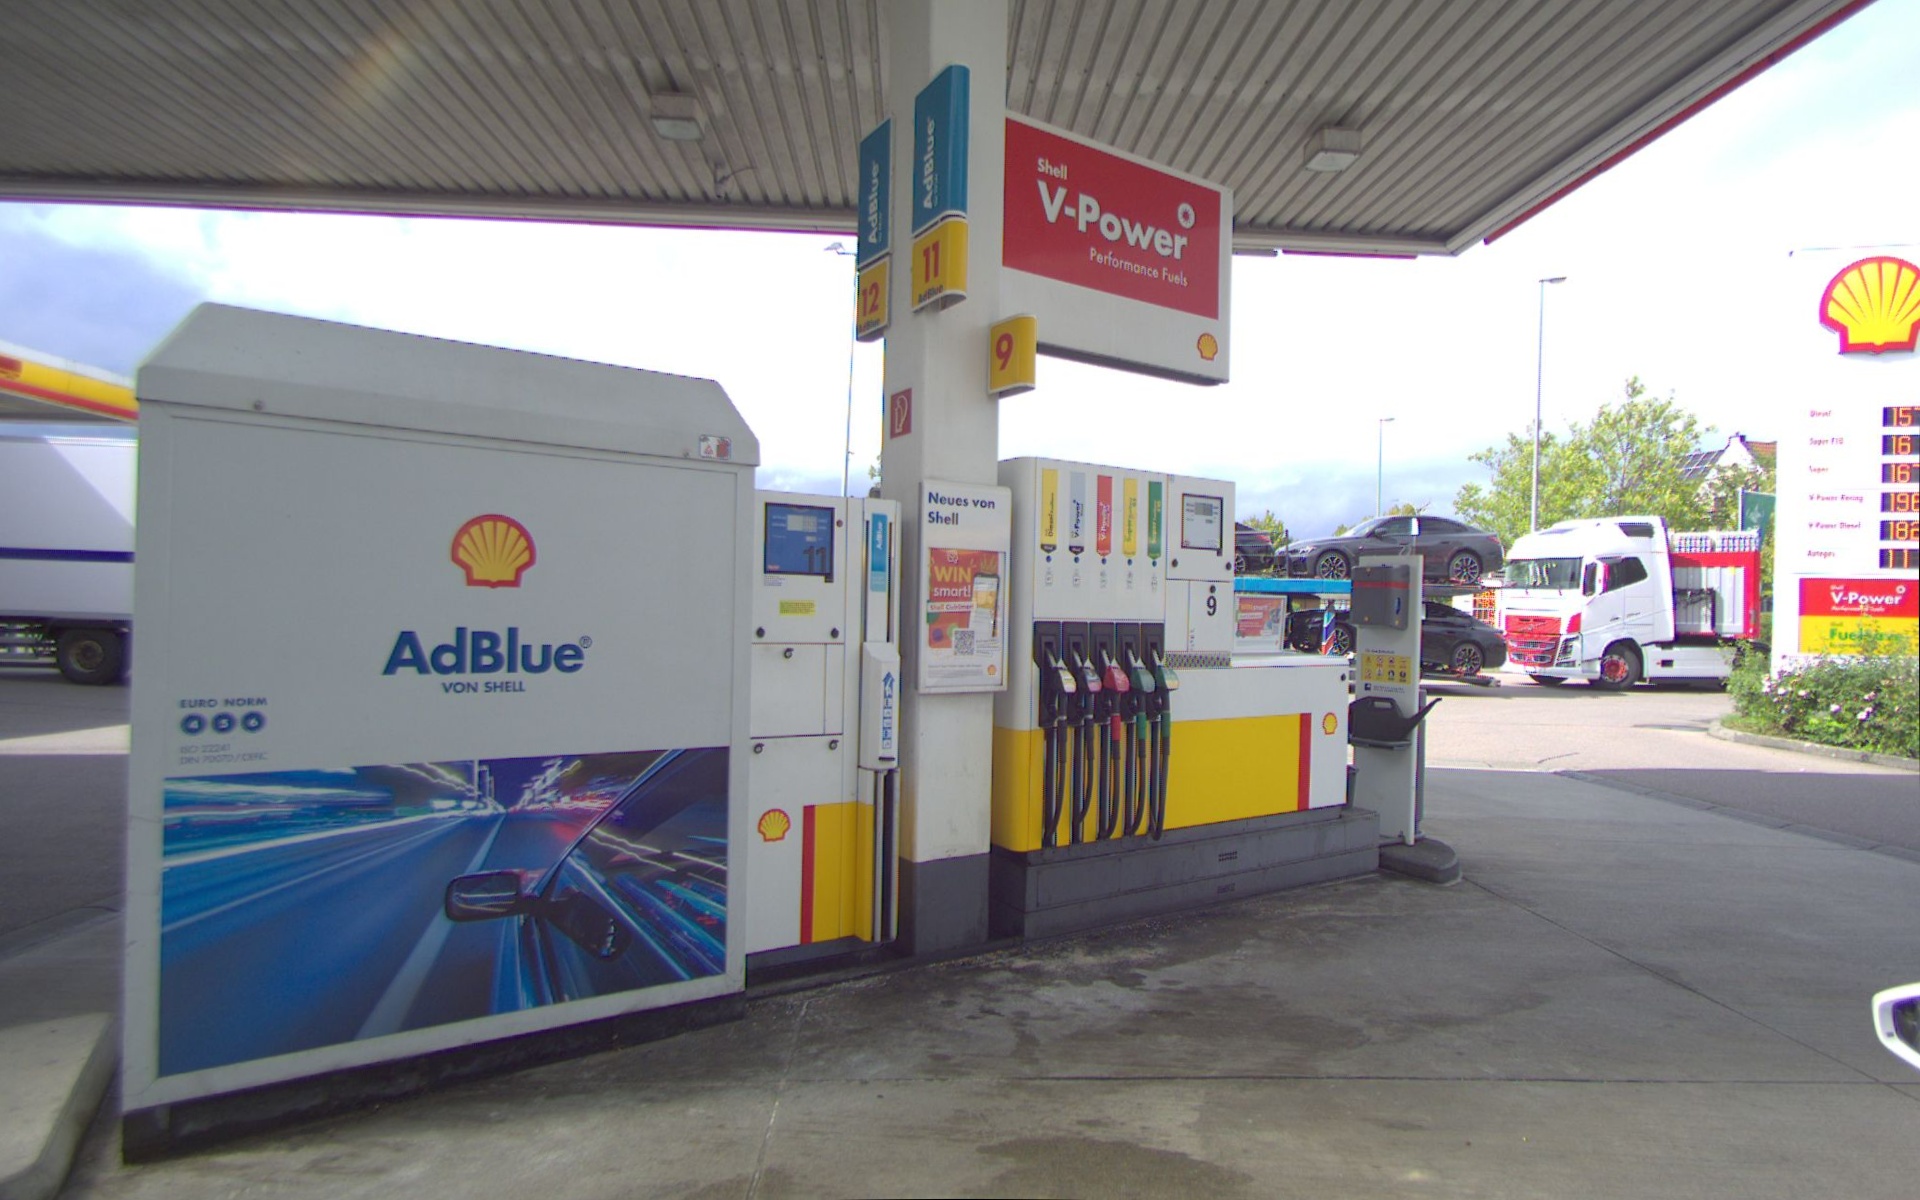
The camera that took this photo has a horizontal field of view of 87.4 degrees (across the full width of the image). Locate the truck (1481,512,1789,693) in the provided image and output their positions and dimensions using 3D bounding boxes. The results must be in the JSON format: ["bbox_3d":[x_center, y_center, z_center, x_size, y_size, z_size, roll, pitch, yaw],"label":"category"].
[{"bbox_3d":[15.914,0.108,23.853,5.815,3.897,2.735,2,0,-12],"label":"truck"}]

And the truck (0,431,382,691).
[{"bbox_3d":[-17.302,-0.742,17.499,12.654,4.092,2.534,2,0,-3],"label":"truck"}]

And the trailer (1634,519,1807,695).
[{"bbox_3d":[21.114,0.285,27.454,2.700,3.826,12.645,2,0,42],"label":"trailer"}]

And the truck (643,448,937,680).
[{"bbox_3d":[-3.451,-0.708,21.545,5.713,4.479,2.750,2,0,0],"label":"truck"}]

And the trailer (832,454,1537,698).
[{"bbox_3d":[4.524,-0.472,21.584,14.077,4.481,2.746,2,0,0],"label":"trailer"}]
